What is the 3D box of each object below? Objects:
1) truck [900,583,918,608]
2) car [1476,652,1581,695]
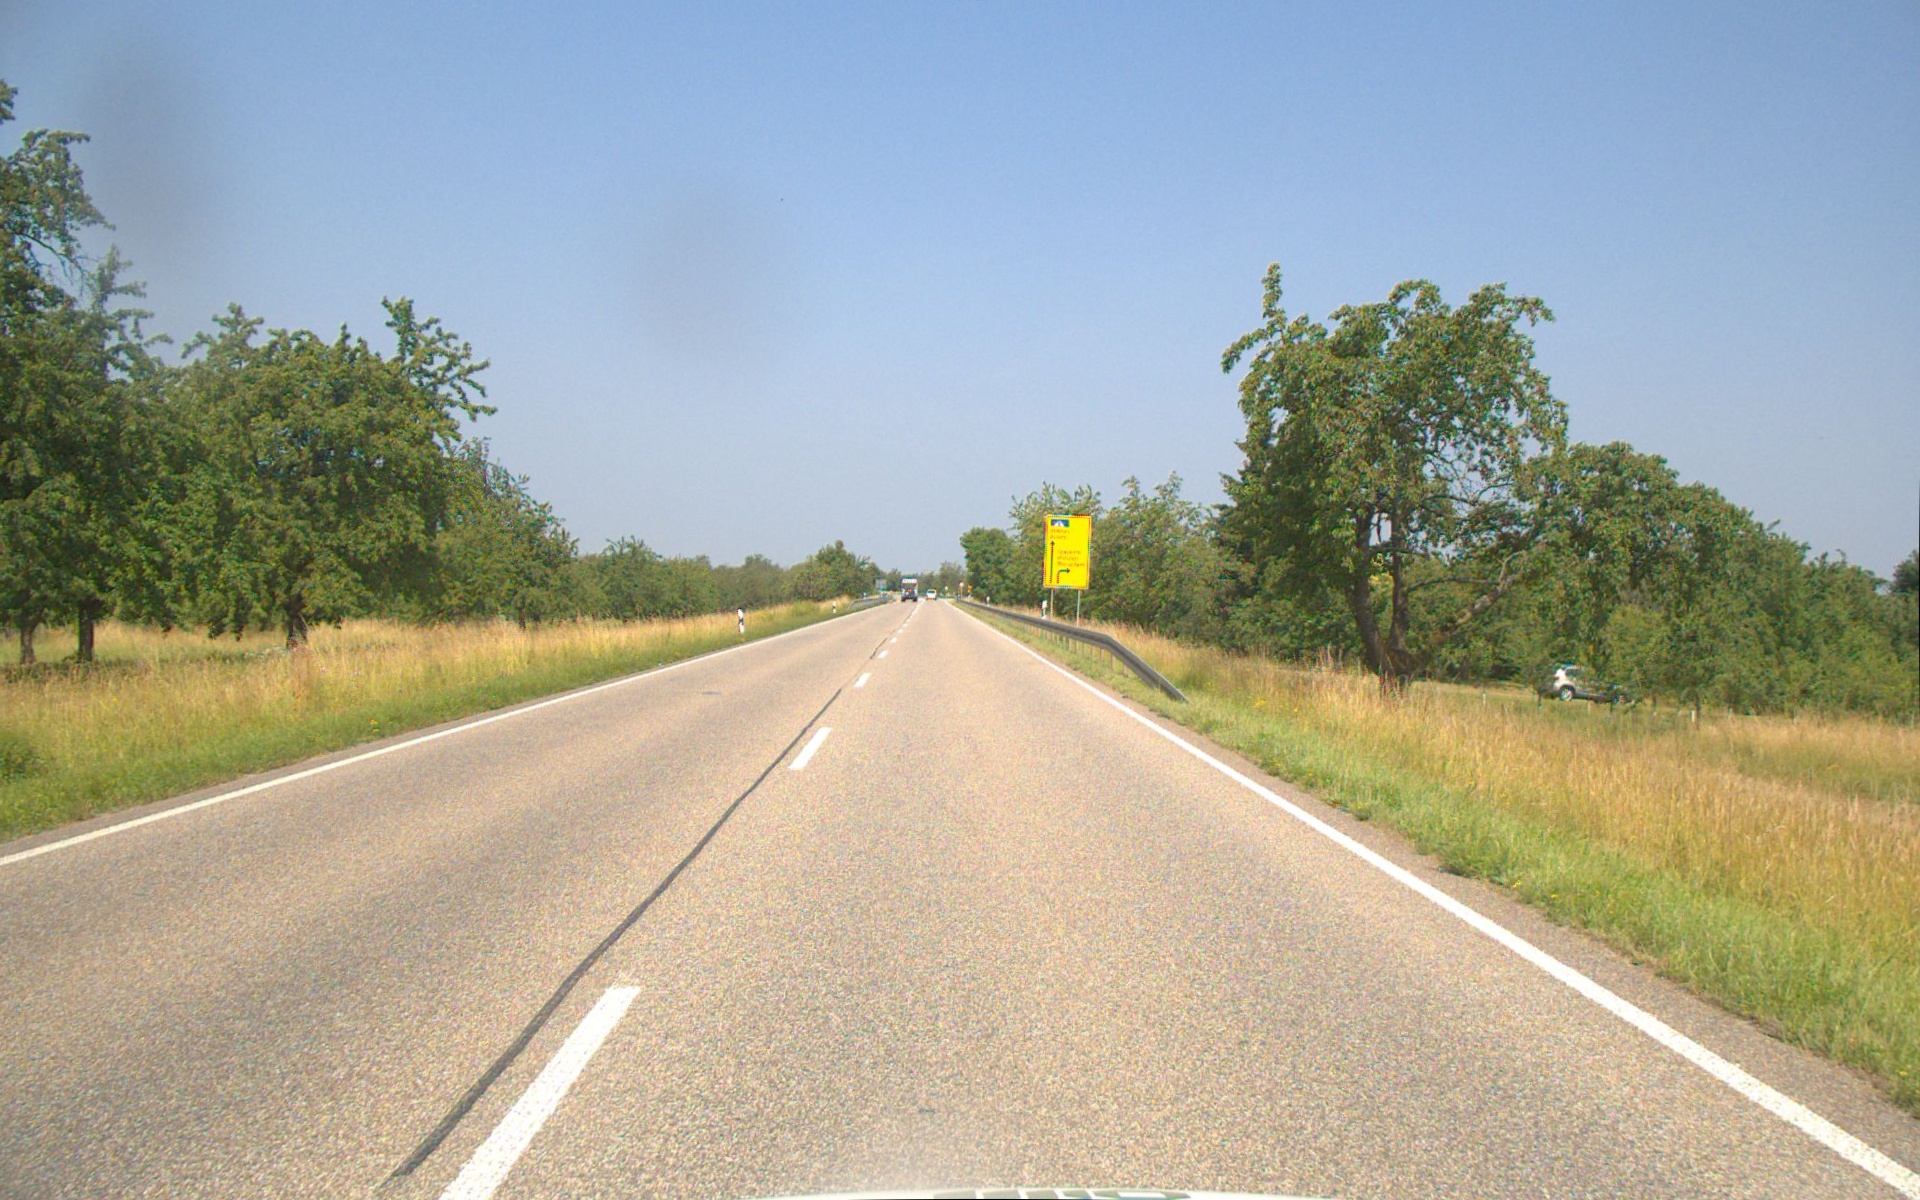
[{"bbox_3d":[-7.979,-0.716,259.571,2.673,3.736,9.380,1,0,-1],"label":"truck"},{"bbox_3d":[25.596,3.286,74.550,4.005,1.561,1.852,5,-1,-10],"label":"car"}]
